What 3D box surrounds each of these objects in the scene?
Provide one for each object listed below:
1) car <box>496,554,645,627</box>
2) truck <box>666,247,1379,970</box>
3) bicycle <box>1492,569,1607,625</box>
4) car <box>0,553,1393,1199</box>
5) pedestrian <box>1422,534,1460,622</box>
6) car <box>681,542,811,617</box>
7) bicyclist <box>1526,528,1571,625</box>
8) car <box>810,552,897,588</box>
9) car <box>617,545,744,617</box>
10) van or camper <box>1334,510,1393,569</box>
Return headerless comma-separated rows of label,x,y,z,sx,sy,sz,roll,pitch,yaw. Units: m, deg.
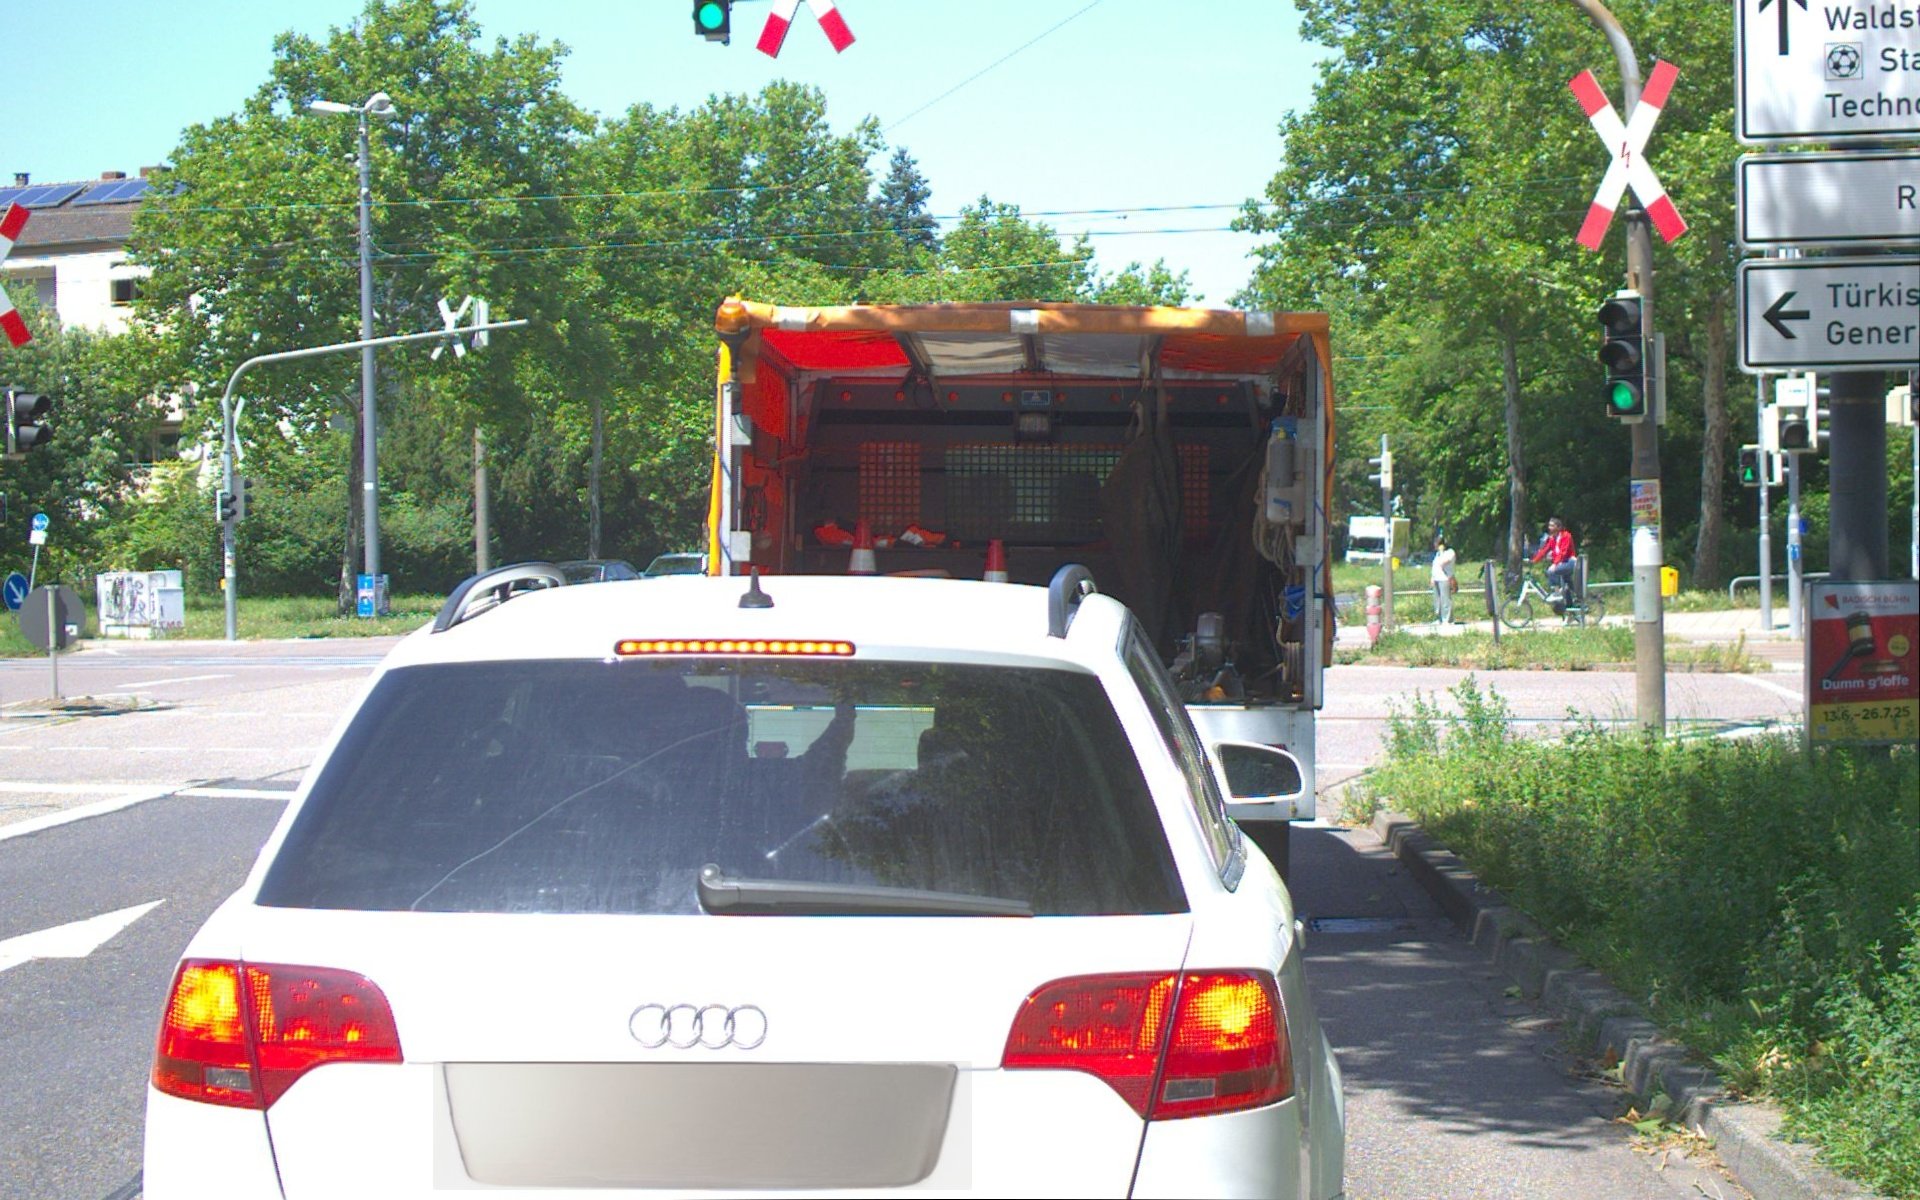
car,-8.297,-0.223,73.651,1.950,1.435,4.745,0,2,10
truck,0.388,-0.019,16.086,2.511,2.551,7.603,1,1,3
bicycle,9.571,-0.053,55.826,1.806,0.892,0.589,0,1,6
car,-0.256,0.653,5.940,1.763,1.440,3.615,0,1,4
pedestrian,8.157,-0.378,58.298,0.553,1.479,0.629,-1,1,16
car,-4.577,-0.464,74.130,1.909,1.533,4.297,-1,1,8
bicyclist,9.548,-0.380,55.826,0.671,1.551,0.579,0,0,6
car,-4.299,-1.215,139.218,1.884,1.388,3.994,0,1,26
car,-6.518,-0.467,80.752,1.788,1.609,4.402,-1,1,12
van or camper,23.466,-3.505,199.679,2.662,3.320,5.497,0,1,14
